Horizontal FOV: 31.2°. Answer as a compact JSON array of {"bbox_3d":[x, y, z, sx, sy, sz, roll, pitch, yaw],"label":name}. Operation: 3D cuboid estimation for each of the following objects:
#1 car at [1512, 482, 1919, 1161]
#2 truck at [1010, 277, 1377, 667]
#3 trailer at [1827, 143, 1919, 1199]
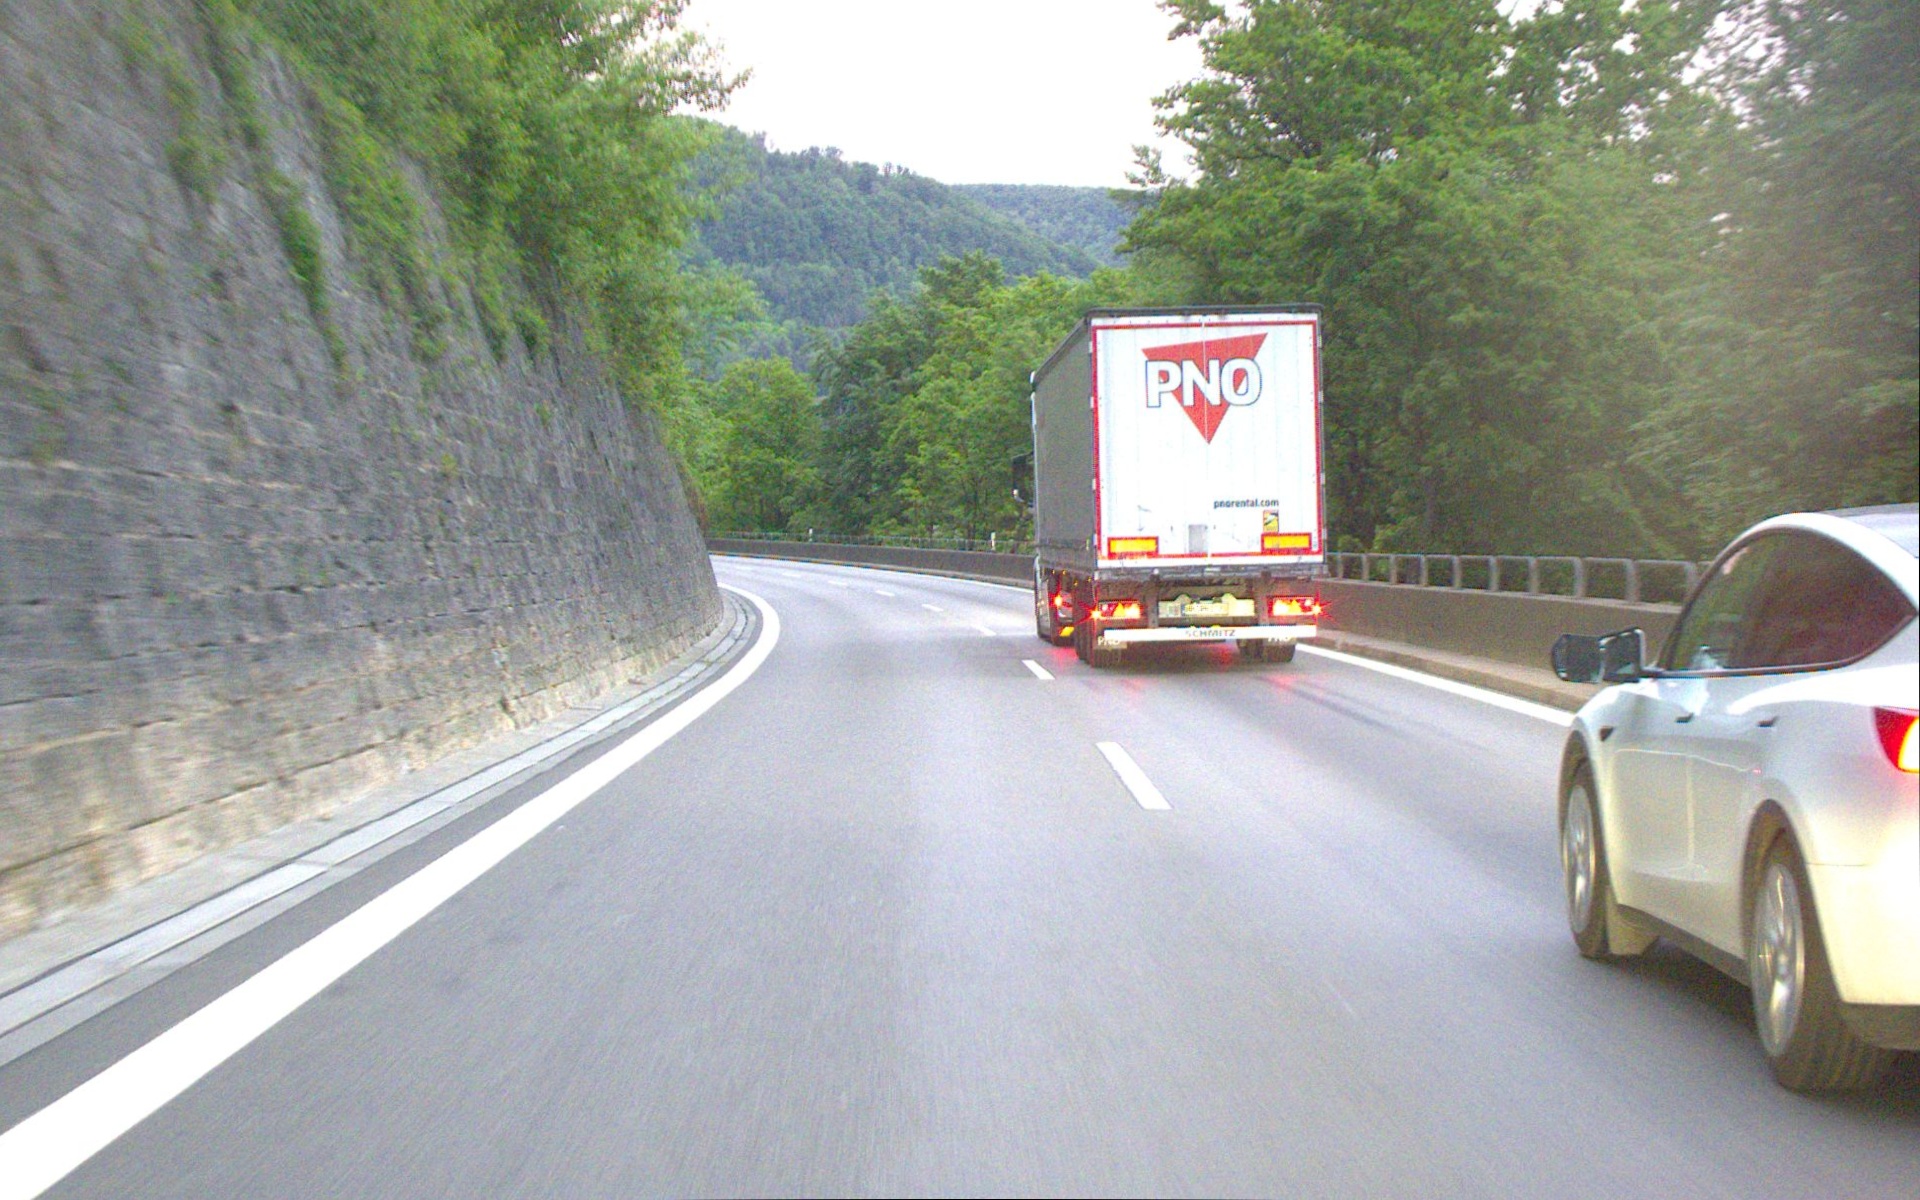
[{"bbox_3d":[3.114,0.492,10.591,1.993,1.609,4.865,0,1,-1],"label":"car"},{"bbox_3d":[2.614,-1.476,44.912,3.294,4.158,16.504,0,1,-1],"label":"truck"},{"bbox_3d":[3.135,0.231,5.284,2.054,2.367,5.938,1,1,0],"label":"trailer"}]
